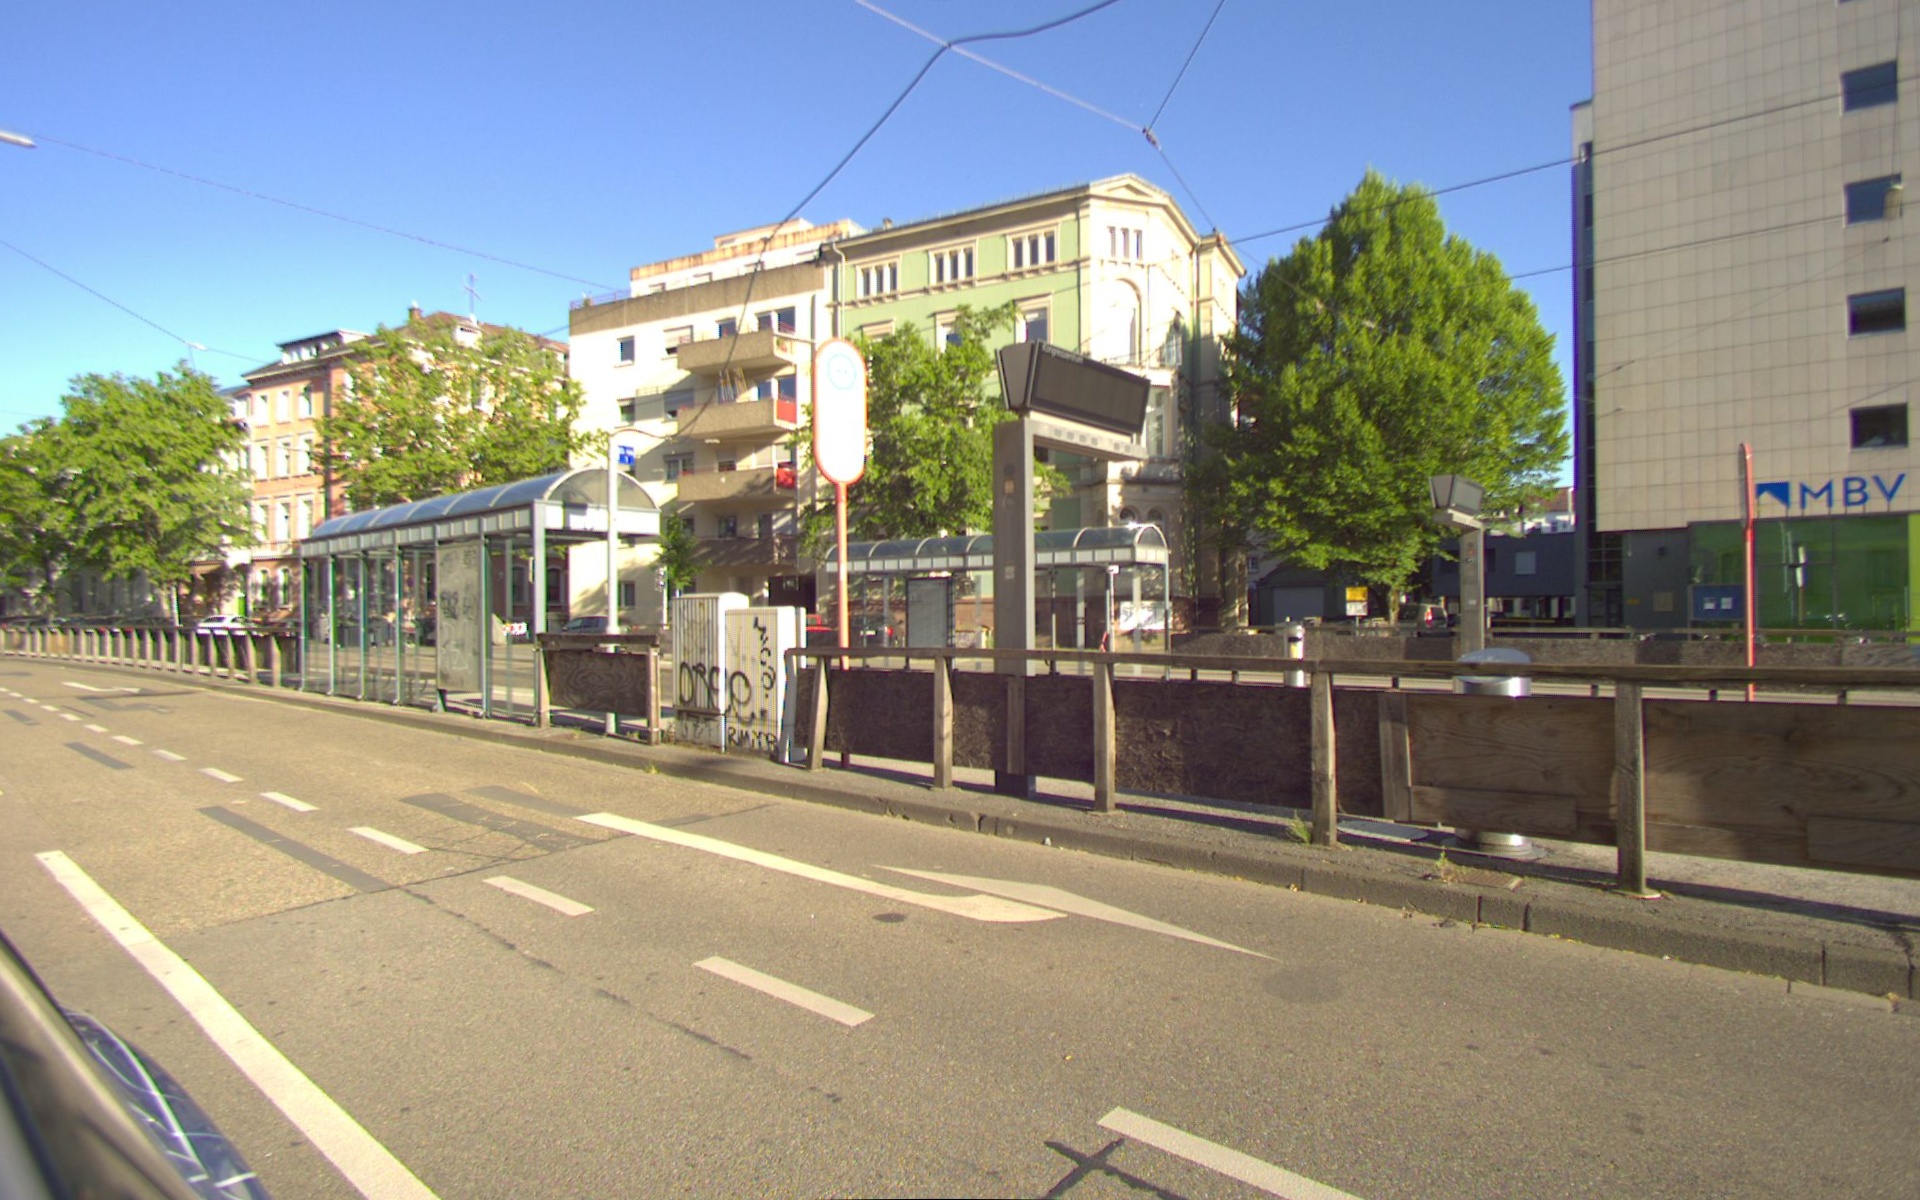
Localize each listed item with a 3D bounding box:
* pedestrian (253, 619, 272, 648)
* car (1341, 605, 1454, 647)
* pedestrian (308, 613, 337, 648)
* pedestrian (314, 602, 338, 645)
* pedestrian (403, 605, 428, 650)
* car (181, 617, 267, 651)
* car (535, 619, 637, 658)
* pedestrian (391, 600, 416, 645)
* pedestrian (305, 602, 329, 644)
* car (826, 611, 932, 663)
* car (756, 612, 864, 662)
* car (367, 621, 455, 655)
[{"bbox_3d":[-39.295,1.876,57.014,0.854,1.641,0.894,1,-2,-36],"label":"pedestrian"},{"bbox_3d":[15.725,0.901,36.469,1.544,1.423,3.430,-1,0,-38],"label":"car"},{"bbox_3d":[-31.858,1.530,50.576,1.016,1.733,0.846,-1,-2,32],"label":"pedestrian"},{"bbox_3d":[-33.078,1.208,52.794,0.753,2.224,0.804,-1,-2,30],"label":"pedestrian"},{"bbox_3d":[-27.023,1.359,50.211,0.753,2.224,0.804,-1,-2,30],"label":"pedestrian"},{"bbox_3d":[-39.447,1.797,54.357,1.825,1.721,4.130,0,-1,-5],"label":"car"},{"bbox_3d":[-14.298,1.460,38.682,3.725,1.438,1.637,-1,-1,29],"label":"car"},{"bbox_3d":[-27.906,1.141,50.754,0.753,2.224,0.804,-1,-2,30],"label":"pedestrian"},{"bbox_3d":[-34.204,1.223,53.839,0.755,2.224,0.803,-1,-2,36],"label":"pedestrian"},{"bbox_3d":[-2.582,1.194,33.360,1.754,1.594,3.965,-1,-1,26],"label":"car"},{"bbox_3d":[-5.016,1.226,34.407,1.754,1.594,3.965,-1,-1,26],"label":"car"},{"bbox_3d":[-23.713,1.608,43.668,3.986,1.407,1.592,-1,-2,32],"label":"car"}]
